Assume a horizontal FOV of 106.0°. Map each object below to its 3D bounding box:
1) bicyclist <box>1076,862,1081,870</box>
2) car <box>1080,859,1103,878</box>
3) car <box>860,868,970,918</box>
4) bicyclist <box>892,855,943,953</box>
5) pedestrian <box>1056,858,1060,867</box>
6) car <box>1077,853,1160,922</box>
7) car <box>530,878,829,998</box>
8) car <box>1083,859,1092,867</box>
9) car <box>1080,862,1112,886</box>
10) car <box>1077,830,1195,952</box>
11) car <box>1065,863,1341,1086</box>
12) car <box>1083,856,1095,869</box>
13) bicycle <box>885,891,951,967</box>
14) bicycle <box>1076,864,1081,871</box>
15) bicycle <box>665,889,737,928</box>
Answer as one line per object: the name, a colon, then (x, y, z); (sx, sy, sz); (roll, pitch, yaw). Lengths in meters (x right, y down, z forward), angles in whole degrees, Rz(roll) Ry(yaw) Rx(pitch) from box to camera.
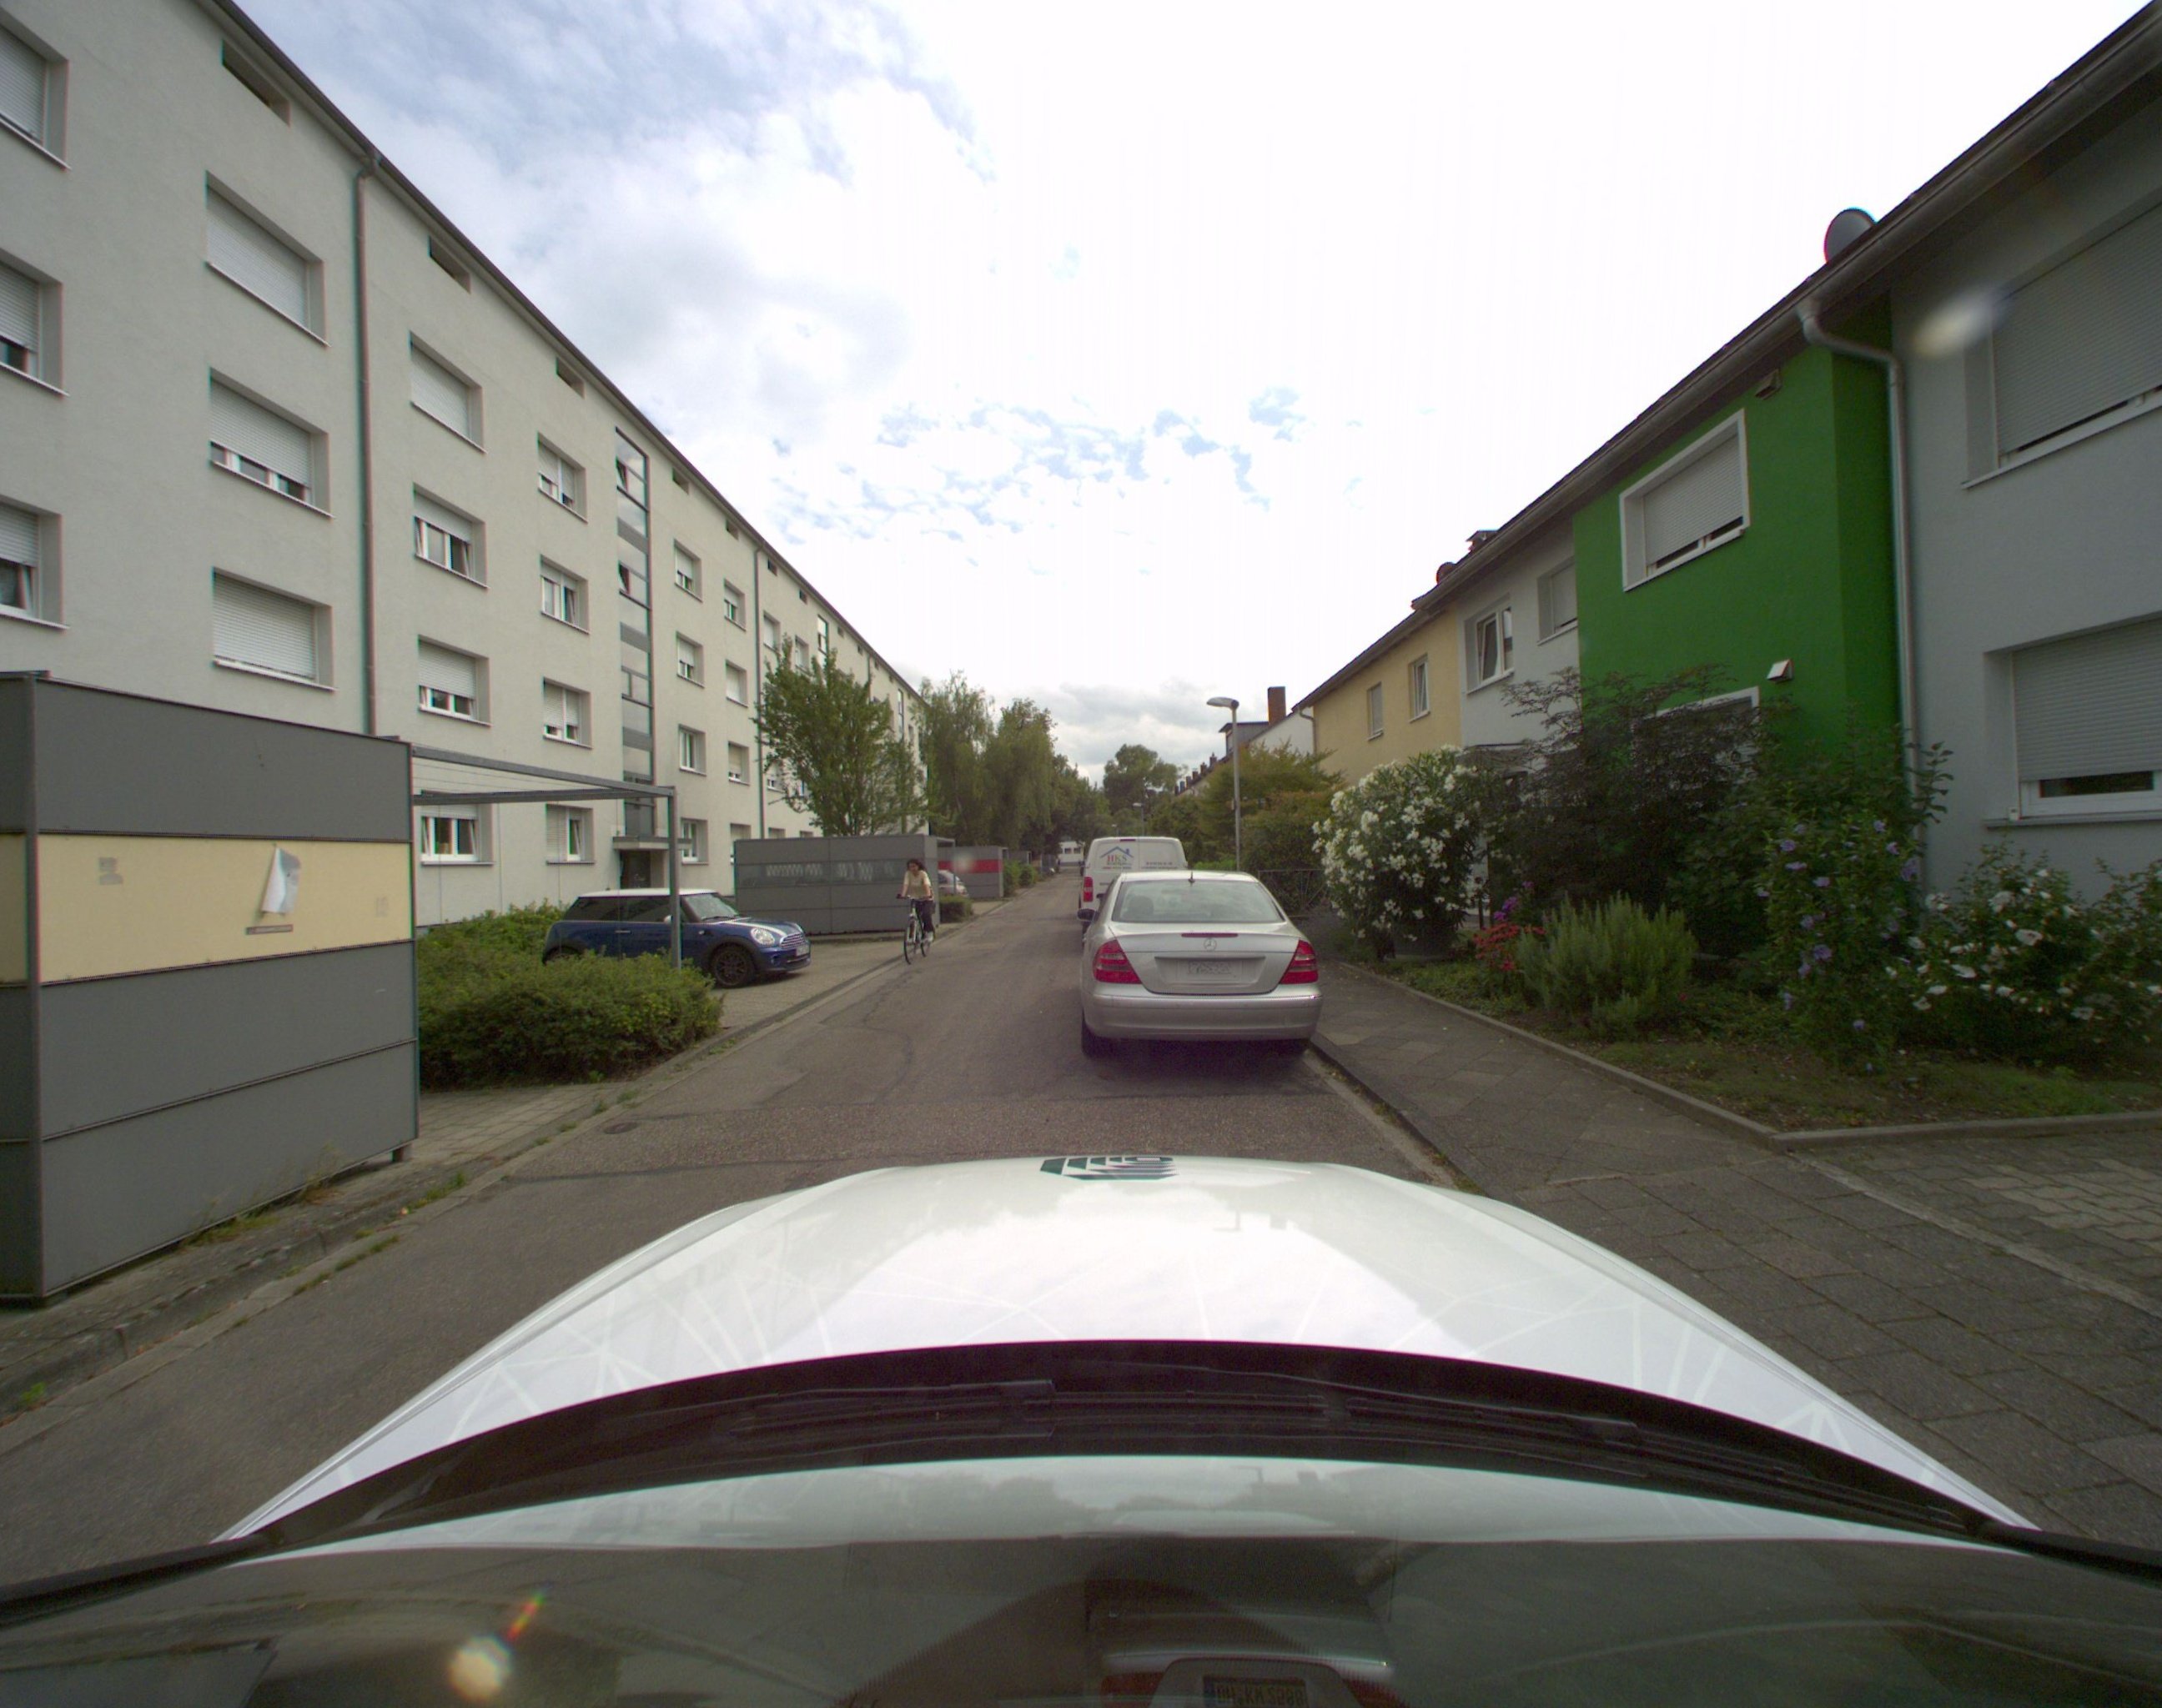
bicyclist: (-0.481, 2.155, 148.102); (0.795, 1.511, 0.934); (0, -1, 2)
car: (0.820, 1.175, 68.002); (1.820, 1.581, 3.998); (0, 0, -1)
car: (-5.835, 1.357, 29.018); (3.555, 1.480, 1.708); (-3, 0, -5)
bicyclist: (-2.761, 0.830, 13.827); (0.595, 1.581, 0.767); (-3, -1, 1)
pedestrian: (-4.724, 1.723, 169.700); (0.774, 1.805, 0.547); (0, -1, -1)
car: (0.893, 0.821, 21.580); (1.820, 1.636, 4.158); (-1, -1, -3)
car: (-5.908, 1.209, 12.252); (3.619, 1.461, 1.654); (-3, -1, 3)
car: (1.260, 1.734, 165.552); (1.819, 1.581, 4.000); (0, 0, 1)
car: (0.909, 1.202, 49.272); (1.819, 1.370, 4.331); (0, 0, 1)
car: (0.887, 0.623, 15.867); (1.898, 1.964, 5.252); (-1, -1, 0)
car: (0.870, 0.811, 7.539); (1.777, 1.421, 4.457); (-1, -1, 2)
car: (1.274, 1.280, 124.434); (1.819, 1.883, 4.000); (0, 0, 1)
bicycle: (-2.737, 1.226, 13.850); (0.595, 1.076, 2.043); (-3, -1, 2)
bicycle: (-0.485, 2.470, 148.024); (0.686, 1.131, 2.580); (0, -1, 2)
bicycle: (-11.015, 1.565, 23.647); (1.820, 1.024, 0.473); (-2, -1, -41)
